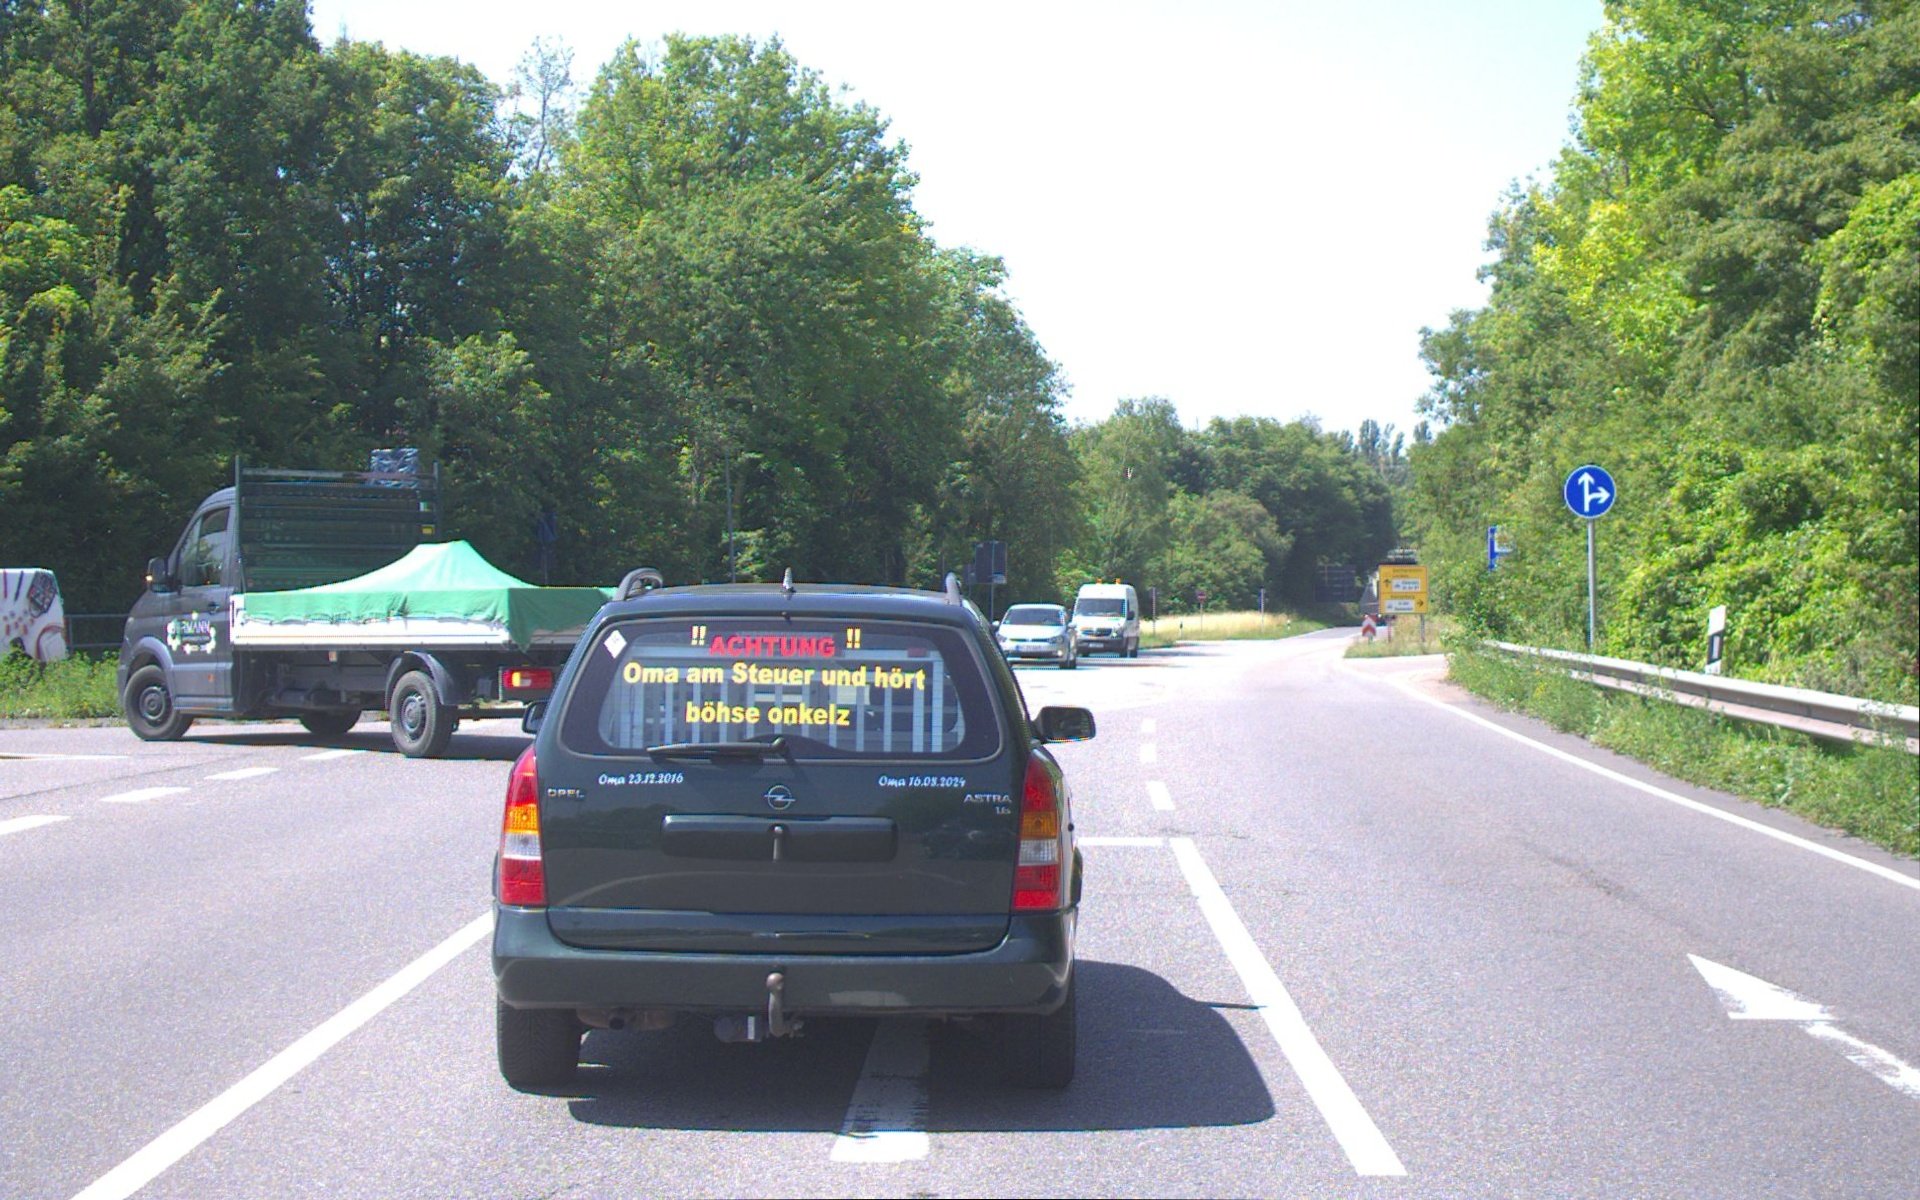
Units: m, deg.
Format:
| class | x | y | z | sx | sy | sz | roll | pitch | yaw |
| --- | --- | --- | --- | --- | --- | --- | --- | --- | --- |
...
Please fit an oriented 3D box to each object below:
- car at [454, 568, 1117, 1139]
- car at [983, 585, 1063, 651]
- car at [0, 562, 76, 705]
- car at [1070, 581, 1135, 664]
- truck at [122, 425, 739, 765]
| class | x | y | z | sx | sy | sz | roll | pitch | yaw |
| --- | --- | --- | --- | --- | --- | --- | --- | --- | --- |
| car | -0.442 | 0.646 | 10.894 | 1.720 | 1.452 | 3.797 | 1 | 1 | 0 |
| car | 1.417 | 0.381 | 76.435 | 1.644 | 1.414 | 3.766 | 1 | 0 | 3 |
| car | -14.385 | 0.447 | 45.681 | 2.013 | 1.917 | 5.185 | 1 | 1 | 31 |
| car | 5.052 | 0.770 | 121.085 | 2.105 | 2.840 | 6.011 | 1 | 0 | 4 |
| truck | -4.662 | -0.080 | 29.136 | 2.139 | 2.556 | 6.637 | 0 | 1 | -39 |
